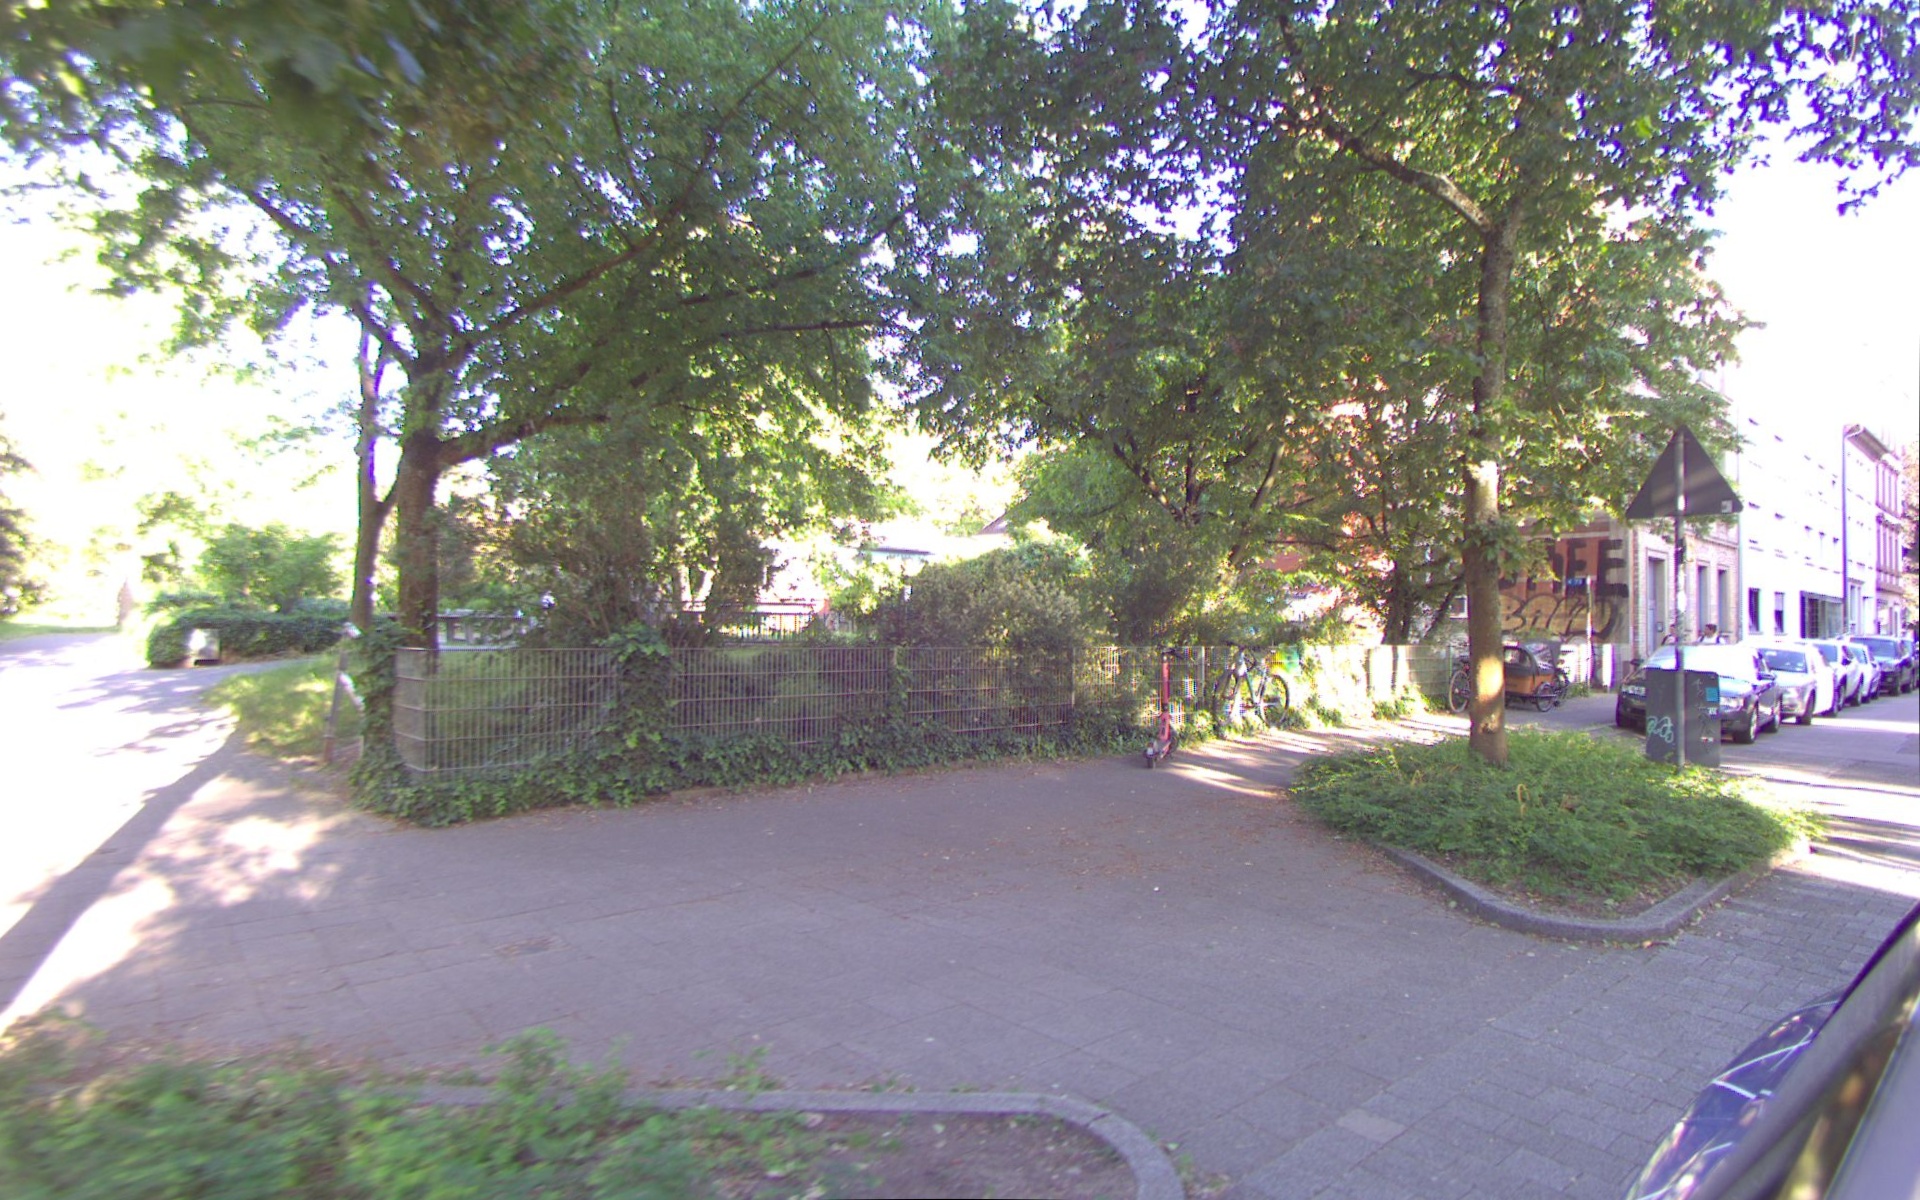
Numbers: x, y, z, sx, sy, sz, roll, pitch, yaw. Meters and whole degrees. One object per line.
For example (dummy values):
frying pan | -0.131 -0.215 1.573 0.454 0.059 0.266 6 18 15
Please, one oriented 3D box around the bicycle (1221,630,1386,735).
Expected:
bicycle | 4.711 1.071 13.764 2.643 1.284 0.848 2 -2 -39

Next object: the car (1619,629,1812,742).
car | 12.373 1.275 16.461 4.338 1.512 1.723 2 0 -42

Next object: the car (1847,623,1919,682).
car | 30.172 1.641 32.554 4.252 1.687 1.885 1 1 -41

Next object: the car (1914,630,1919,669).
car | 39.514 2.008 40.323 4.031 1.536 1.767 1 1 -41

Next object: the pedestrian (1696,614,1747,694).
pedestrian | 17.268 1.212 22.950 0.739 1.730 0.711 2 1 -41

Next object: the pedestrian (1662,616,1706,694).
pedestrian | 16.651 1.245 23.285 0.694 1.730 0.598 2 1 -41

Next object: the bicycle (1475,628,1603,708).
bicycle | 10.828 1.228 18.910 2.284 1.318 1.294 2 1 -38

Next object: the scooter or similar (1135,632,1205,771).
scooter or similar | 2.204 1.004 10.534 0.539 1.278 1.464 1 0 18

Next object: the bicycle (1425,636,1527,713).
bicycle | 8.817 1.246 17.265 1.946 1.216 0.848 2 -2 -39

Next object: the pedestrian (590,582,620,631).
pedestrian | -14.887 0.265 42.423 0.896 2.039 0.748 1 -1 6

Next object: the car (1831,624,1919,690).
car | 26.552 1.582 28.979 4.250 1.688 1.770 2 -1 -40

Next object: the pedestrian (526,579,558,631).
pedestrian | -16.834 0.212 40.763 0.896 2.039 0.748 1 -1 6

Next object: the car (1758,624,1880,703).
car | 19.704 1.399 23.166 3.698 1.605 1.596 2 0 -41

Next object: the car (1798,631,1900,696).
car | 22.879 1.578 25.997 3.935 1.469 1.595 2 0 -43

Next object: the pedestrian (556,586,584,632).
pedestrian | -17.566 0.394 45.606 0.896 2.039 0.748 1 -1 6

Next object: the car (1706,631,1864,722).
car | 16.126 1.396 19.712 4.276 1.512 1.662 2 0 -41
